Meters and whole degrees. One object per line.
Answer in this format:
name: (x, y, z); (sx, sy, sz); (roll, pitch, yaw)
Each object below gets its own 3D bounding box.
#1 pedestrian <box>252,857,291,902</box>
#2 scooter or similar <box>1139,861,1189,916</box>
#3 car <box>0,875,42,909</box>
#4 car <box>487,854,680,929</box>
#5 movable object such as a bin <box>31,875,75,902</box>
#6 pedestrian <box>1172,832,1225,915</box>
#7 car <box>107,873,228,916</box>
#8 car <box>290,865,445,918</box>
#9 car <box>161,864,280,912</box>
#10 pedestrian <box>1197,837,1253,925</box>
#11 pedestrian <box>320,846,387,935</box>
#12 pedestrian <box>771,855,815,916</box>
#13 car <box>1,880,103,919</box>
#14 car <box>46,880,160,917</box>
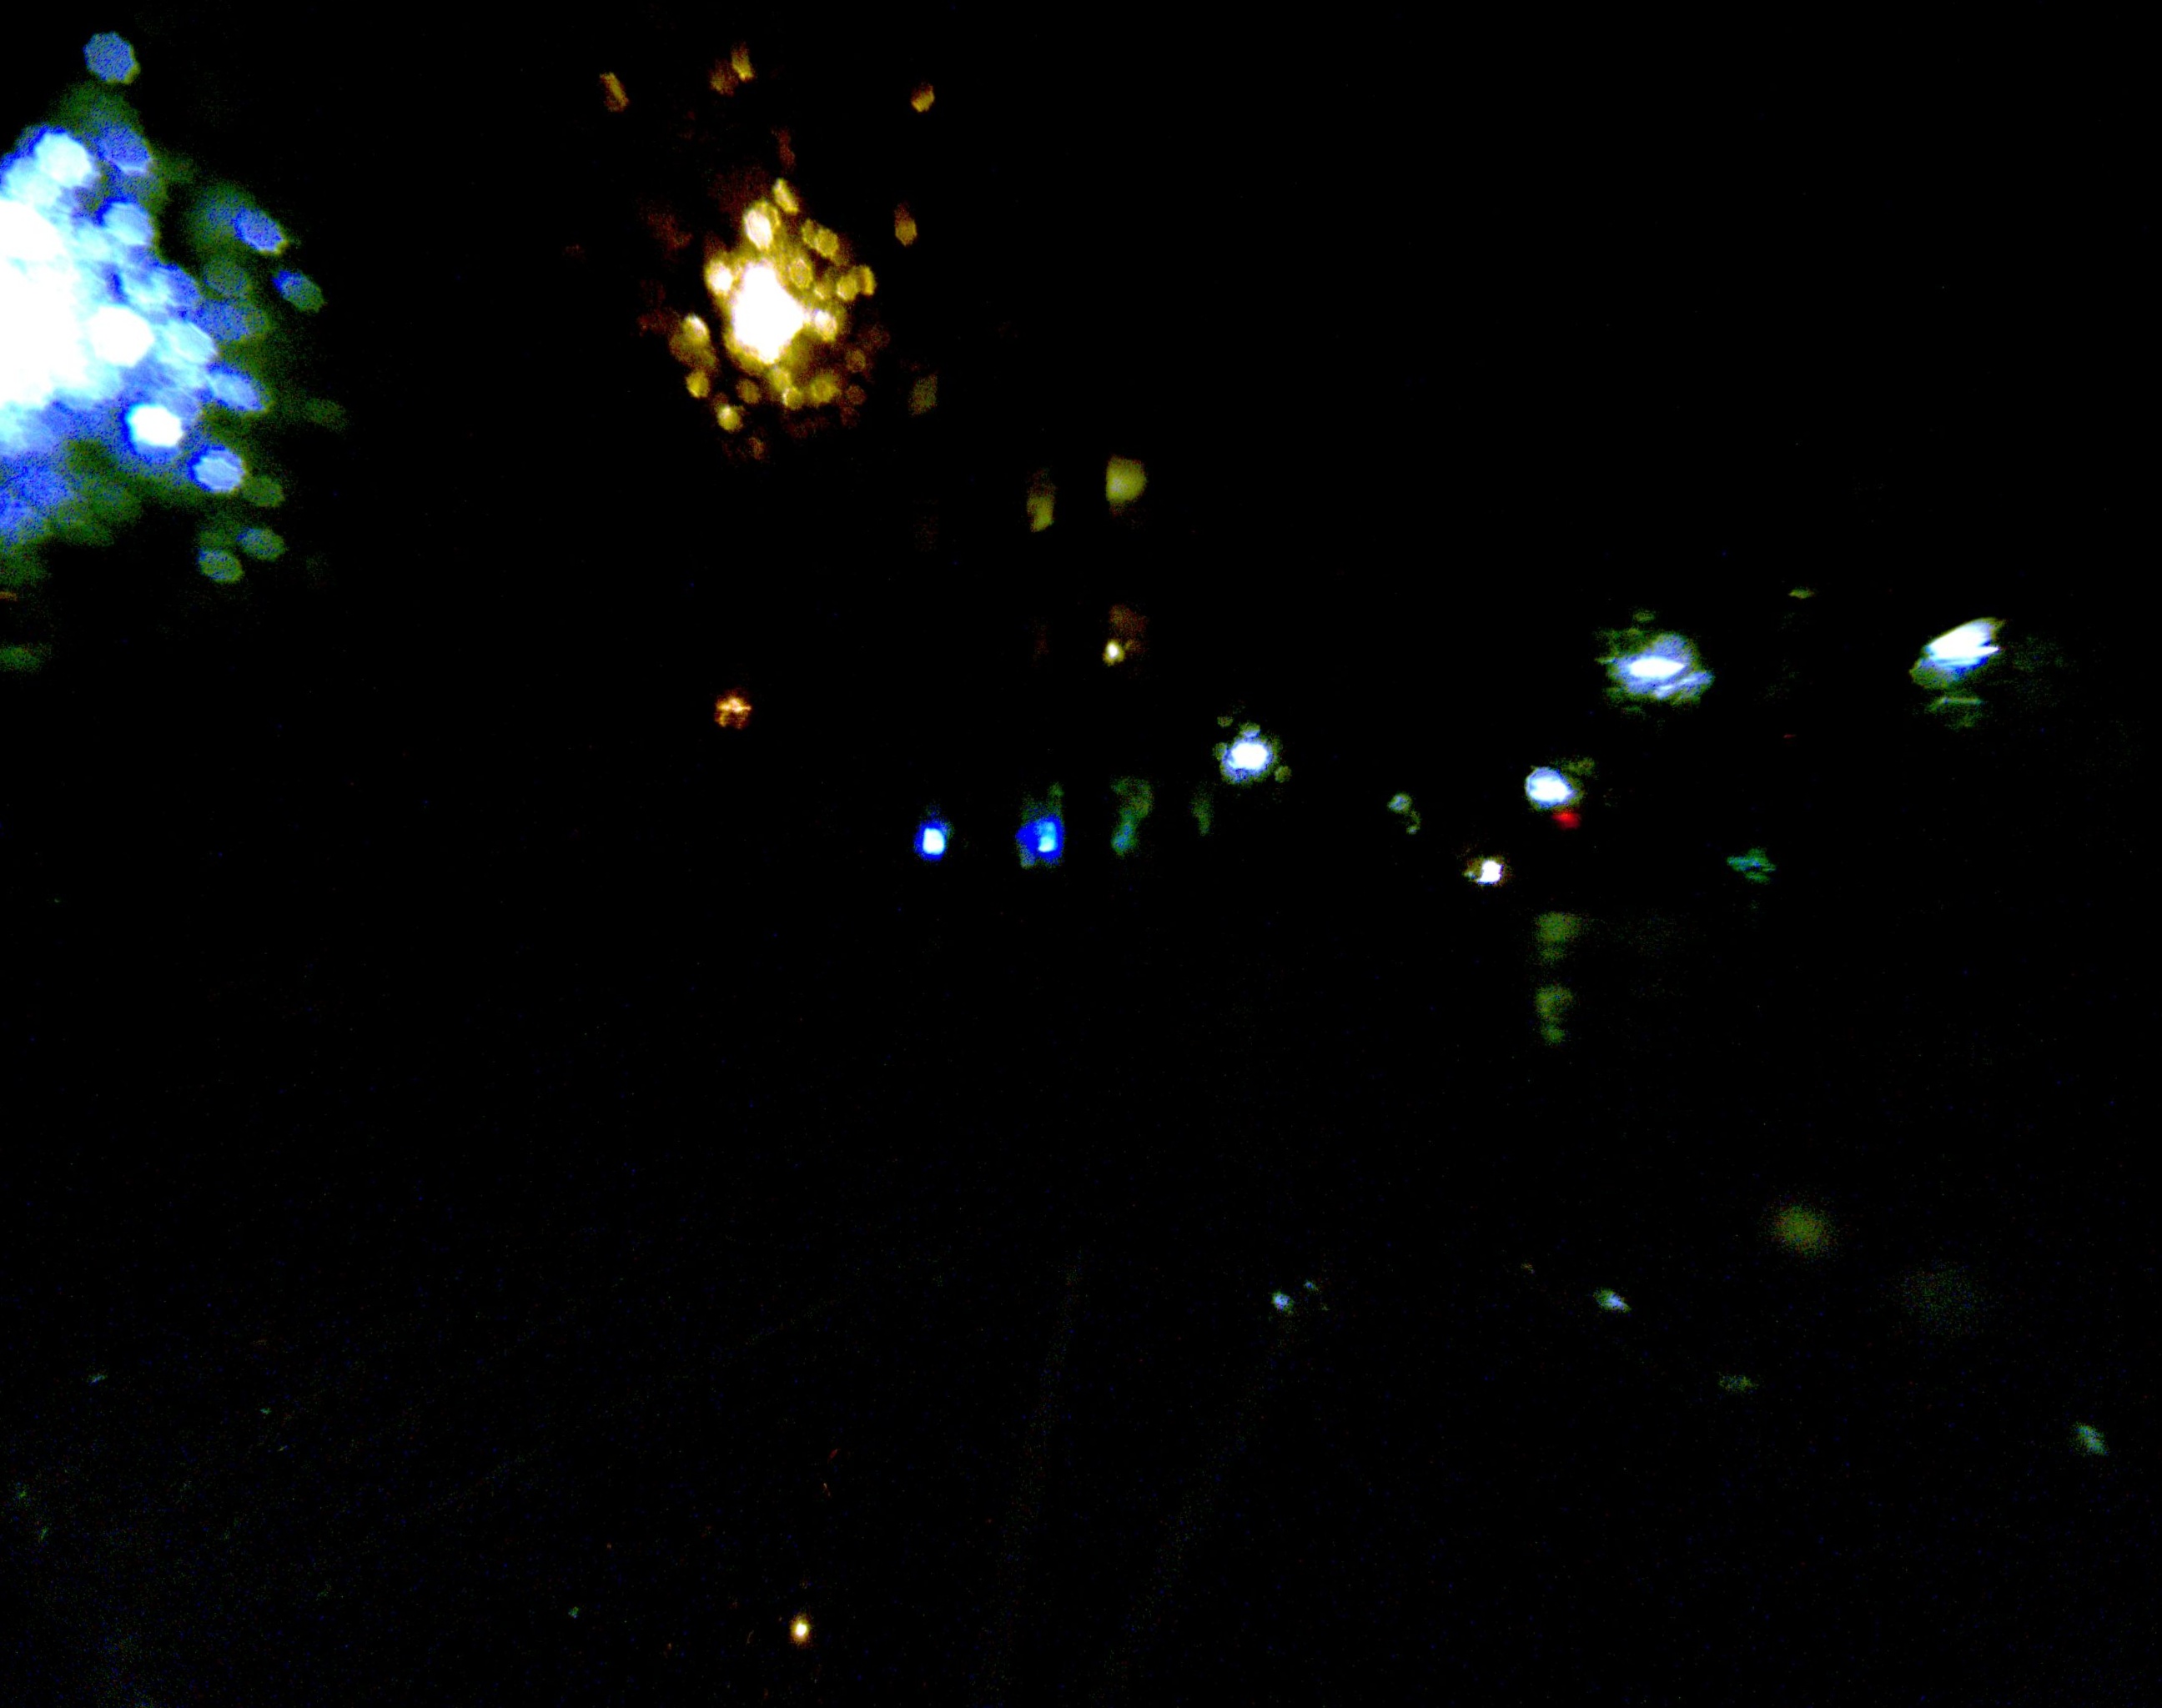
pedestrian: (-33.291, 1.024, 31.239); (0.984, 1.794, 0.746); (0, 3, 27)
scooter or similar: (1.837, 0.748, 16.840); (0.934, 1.120, 0.571); (-3, 3, -28)
car: (-51.754, 1.812, 36.278); (3.712, 1.483, 1.680); (-1, 2, 24)
car: (-12.626, 0.899, 19.277); (4.583, 1.707, 1.841); (-1, 1, 24)
movable object such as a bin: (-56.831, 1.918, 42.007); (1.375, 1.445, 1.106); (-1, 0, 22)
pedestrian: (2.668, 0.419, 17.245); (0.948, 1.811, 0.692); (-3, 4, -30)
car: (-35.355, 1.529, 29.412); (4.296, 1.472, 1.841); (-1, 1, 24)
car: (-22.368, 1.145, 23.819); (4.583, 1.478, 1.841); (-1, 1, 24)
car: (-31.096, 1.210, 27.465); (3.756, 1.579, 1.753); (-1, 1, 24)
pedestrian: (3.118, 0.558, 16.420); (0.948, 1.811, 0.692); (-4, 4, -35)
pedestrian: (-16.730, 0.826, 17.486); (0.658, 1.963, 0.769); (-2, 3, -4)
pedestrian: (-7.512, 0.818, 19.851); (0.761, 1.544, 0.658); (-1, 3, 9)
car: (-45.517, 1.965, 33.602); (4.124, 1.563, 1.783); (-1, 1, 24)
car: (-40.356, 1.802, 31.340); (4.415, 1.381, 1.831); (-1, 1, 24)
